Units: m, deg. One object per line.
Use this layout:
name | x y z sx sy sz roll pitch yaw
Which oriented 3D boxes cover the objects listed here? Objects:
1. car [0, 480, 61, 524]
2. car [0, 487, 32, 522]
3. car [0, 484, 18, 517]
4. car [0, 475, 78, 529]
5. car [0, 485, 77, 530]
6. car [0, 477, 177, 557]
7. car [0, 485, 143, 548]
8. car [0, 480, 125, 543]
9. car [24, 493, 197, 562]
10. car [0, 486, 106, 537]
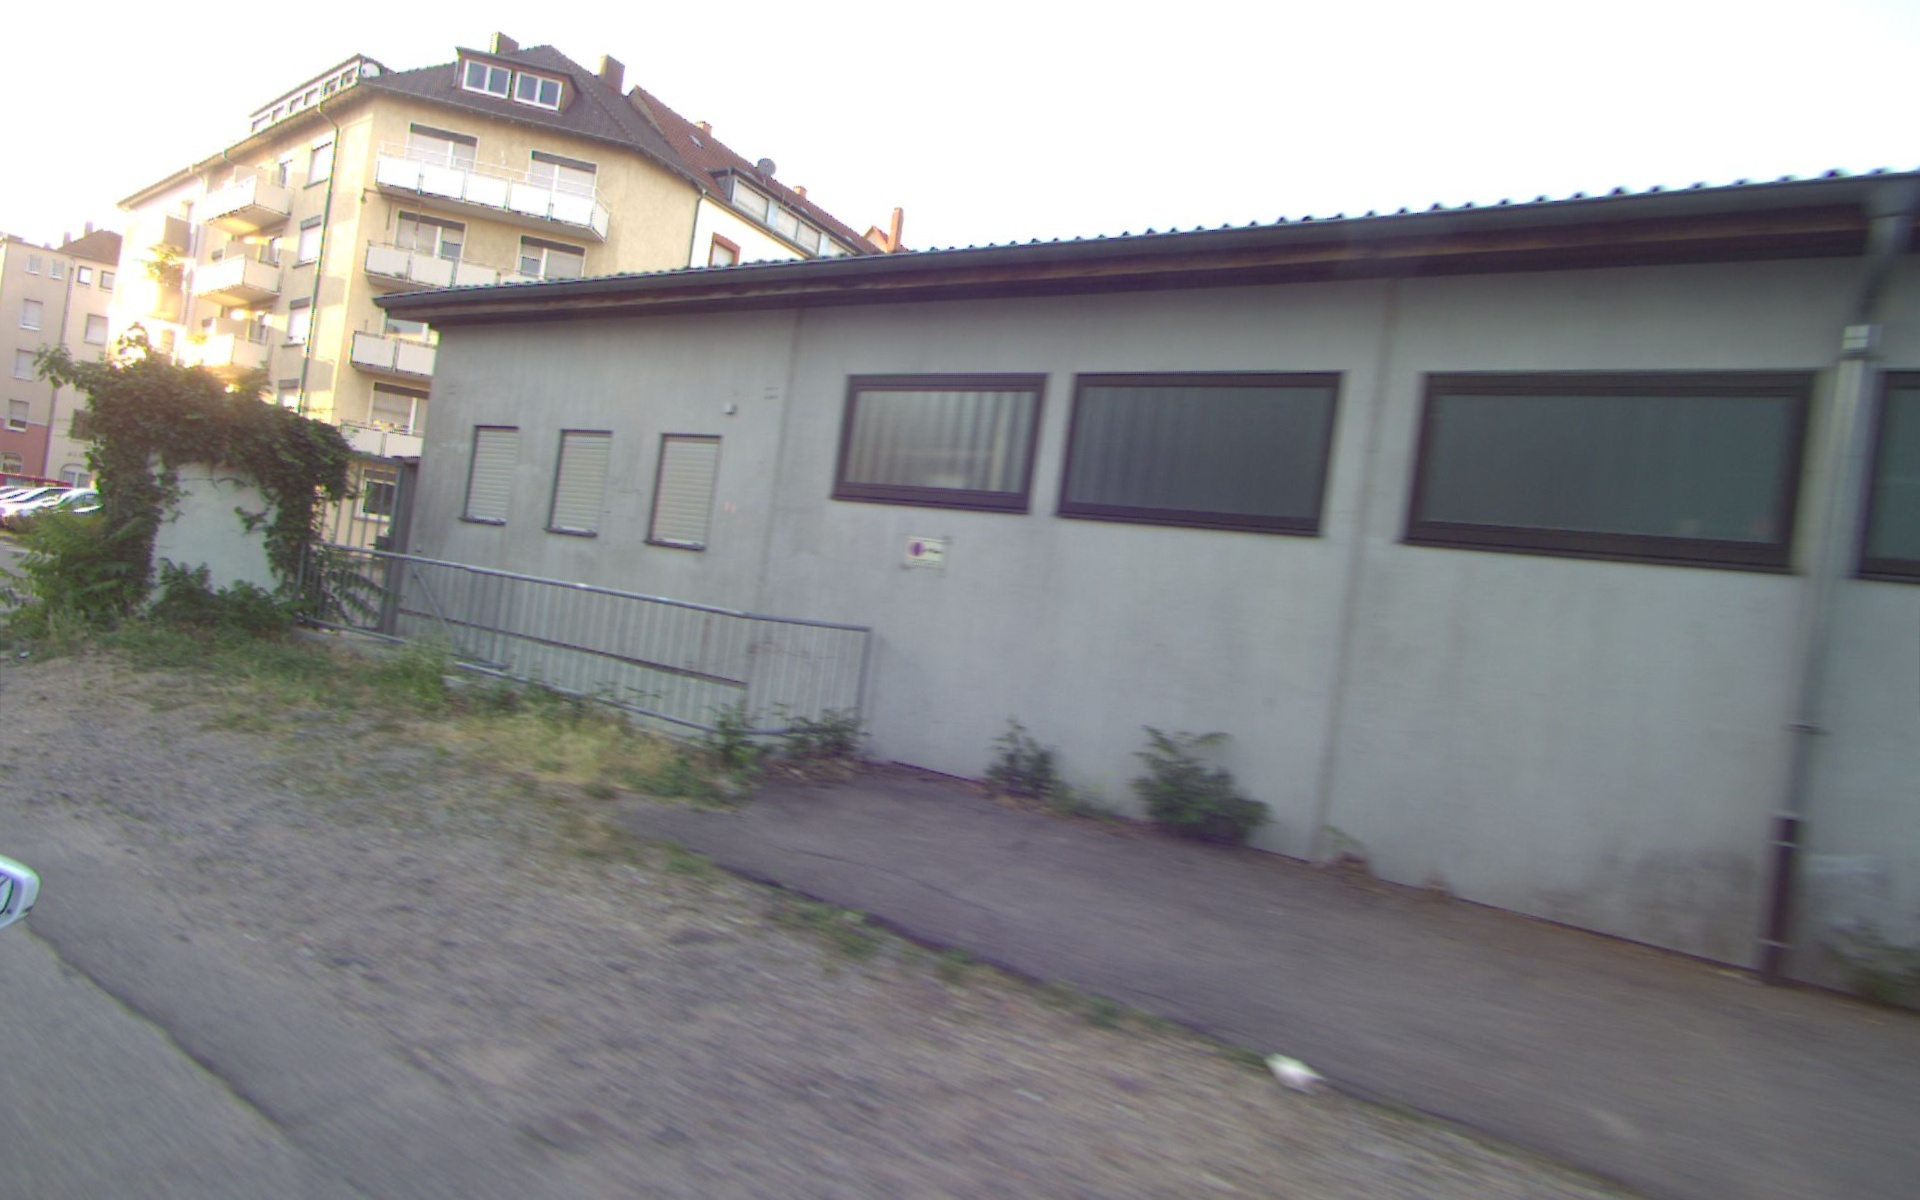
car | -42.588 -4.483 44.139 1.790 1.657 4.323 7 0 37
car | -44.629 -4.547 45.349 1.610 1.445 3.811 7 0 37
car | -46.611 -4.896 46.798 1.610 1.445 3.811 7 0 37
car | -40.485 -4.306 42.300 2.028 1.933 4.721 7 0 37
car | -38.588 -3.867 40.593 1.611 1.489 4.144 7 0 37
car | -29.198 -2.723 33.658 1.715 1.882 4.281 7 -2 38
car | -31.035 -2.887 34.789 1.680 1.540 3.956 8 -1 38
car | -32.736 -3.200 36.219 1.630 1.716 3.789 7 0 38
car | -27.255 -2.296 32.381 1.715 1.509 3.874 7 -2 38
car | -34.612 -3.368 37.190 1.630 1.467 4.307 7 0 38
